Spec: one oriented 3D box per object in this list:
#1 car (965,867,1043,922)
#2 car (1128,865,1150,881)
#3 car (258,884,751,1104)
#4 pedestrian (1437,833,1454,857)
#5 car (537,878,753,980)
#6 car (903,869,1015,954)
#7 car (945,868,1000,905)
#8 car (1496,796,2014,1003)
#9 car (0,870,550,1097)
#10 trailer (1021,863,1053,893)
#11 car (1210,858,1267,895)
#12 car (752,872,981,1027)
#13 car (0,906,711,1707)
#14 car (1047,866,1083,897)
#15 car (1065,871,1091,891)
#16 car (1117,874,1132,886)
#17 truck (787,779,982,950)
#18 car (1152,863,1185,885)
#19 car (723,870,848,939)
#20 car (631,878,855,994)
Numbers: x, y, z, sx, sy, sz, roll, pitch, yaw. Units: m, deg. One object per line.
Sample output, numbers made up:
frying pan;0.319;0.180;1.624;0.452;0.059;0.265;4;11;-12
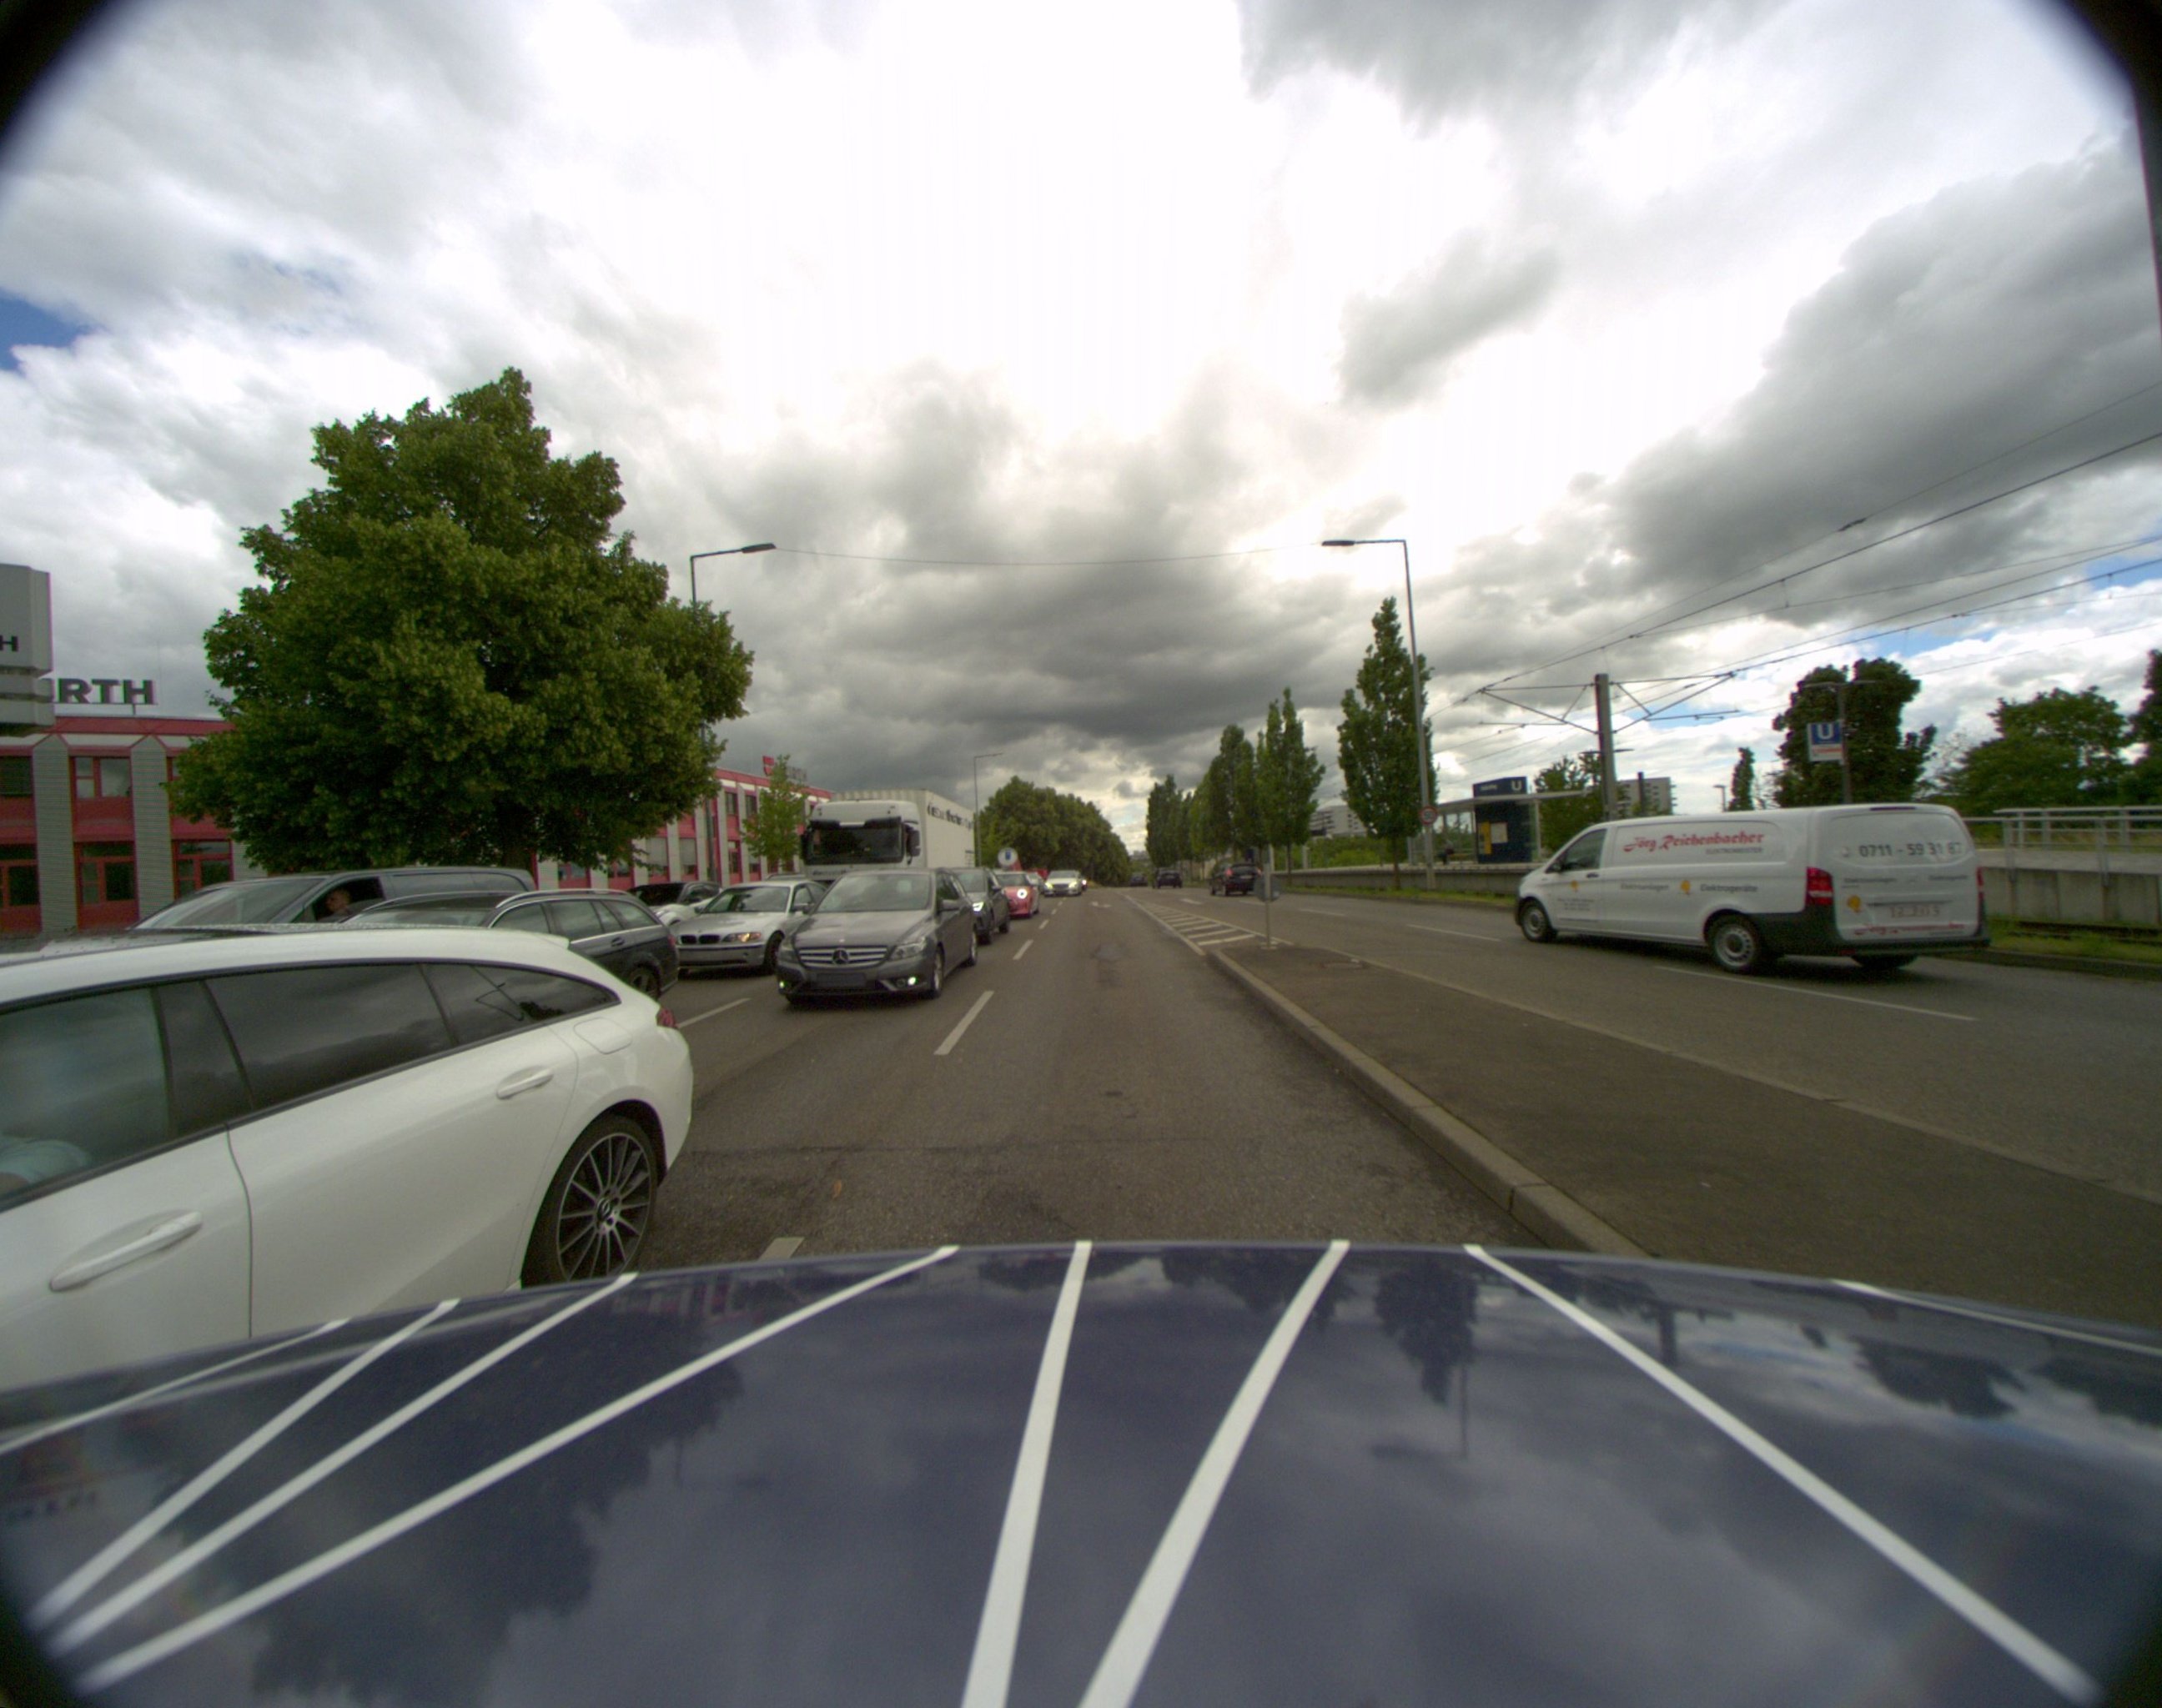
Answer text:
car;-2.259;1.177;23.142;1.825;1.496;3.496;-2;-1;2
car;5.787;1.919;76.588;1.813;1.440;3.934;-2;0;-1
car;-5.327;1.149;7.952;1.750;1.476;4.356;-2;0;1
pedestrian;17.605;-0.443;36.709;0.601;1.148;0.447;-2;1;1
car;-8.596;1.389;15.486;1.844;1.507;4.106;-6;0;1
car;-2.424;1.098;15.973;1.628;1.484;3.838;-2;-1;1
car;-4.992;1.465;35.538;1.851;1.521;4.377;-2;-1;0
car;8.110;0.417;10.143;1.920;1.953;5.371;-2;1;-3
car;-8.846;1.180;8.919;1.763;1.765;4.675;-2;1;2
trailer;-2.987;1.623;52.153;1.775;1.650;3.994;-2;4;1
car;6.799;0.924;33.219;1.700;1.440;3.660;-2;0;0
car;-2.501;1.047;9.935;1.750;1.499;4.048;-2;-1;1
car;-2.650;1.049;1.228;1.849;1.498;4.530;-2;1;0
car;-0.818;1.471;41.789;1.804;1.403;4.316;-2;1;1
car;-0.206;1.962;55.753;1.804;1.403;4.318;-2;-1;1
car;6.369;3.806;111.761;1.700;1.441;3.933;-4;1;-1
truck;-5.247;0.254;22.790;2.809;3.880;10.182;-2;0;2
car;6.222;1.396;54.181;1.700;1.440;3.934;-2;-1;-2
car;-8.448;1.380;22.159;1.865;1.648;4.209;-4;-1;1
car;-5.368;1.214;12.796;1.750;1.375;4.290;-2;1;1
